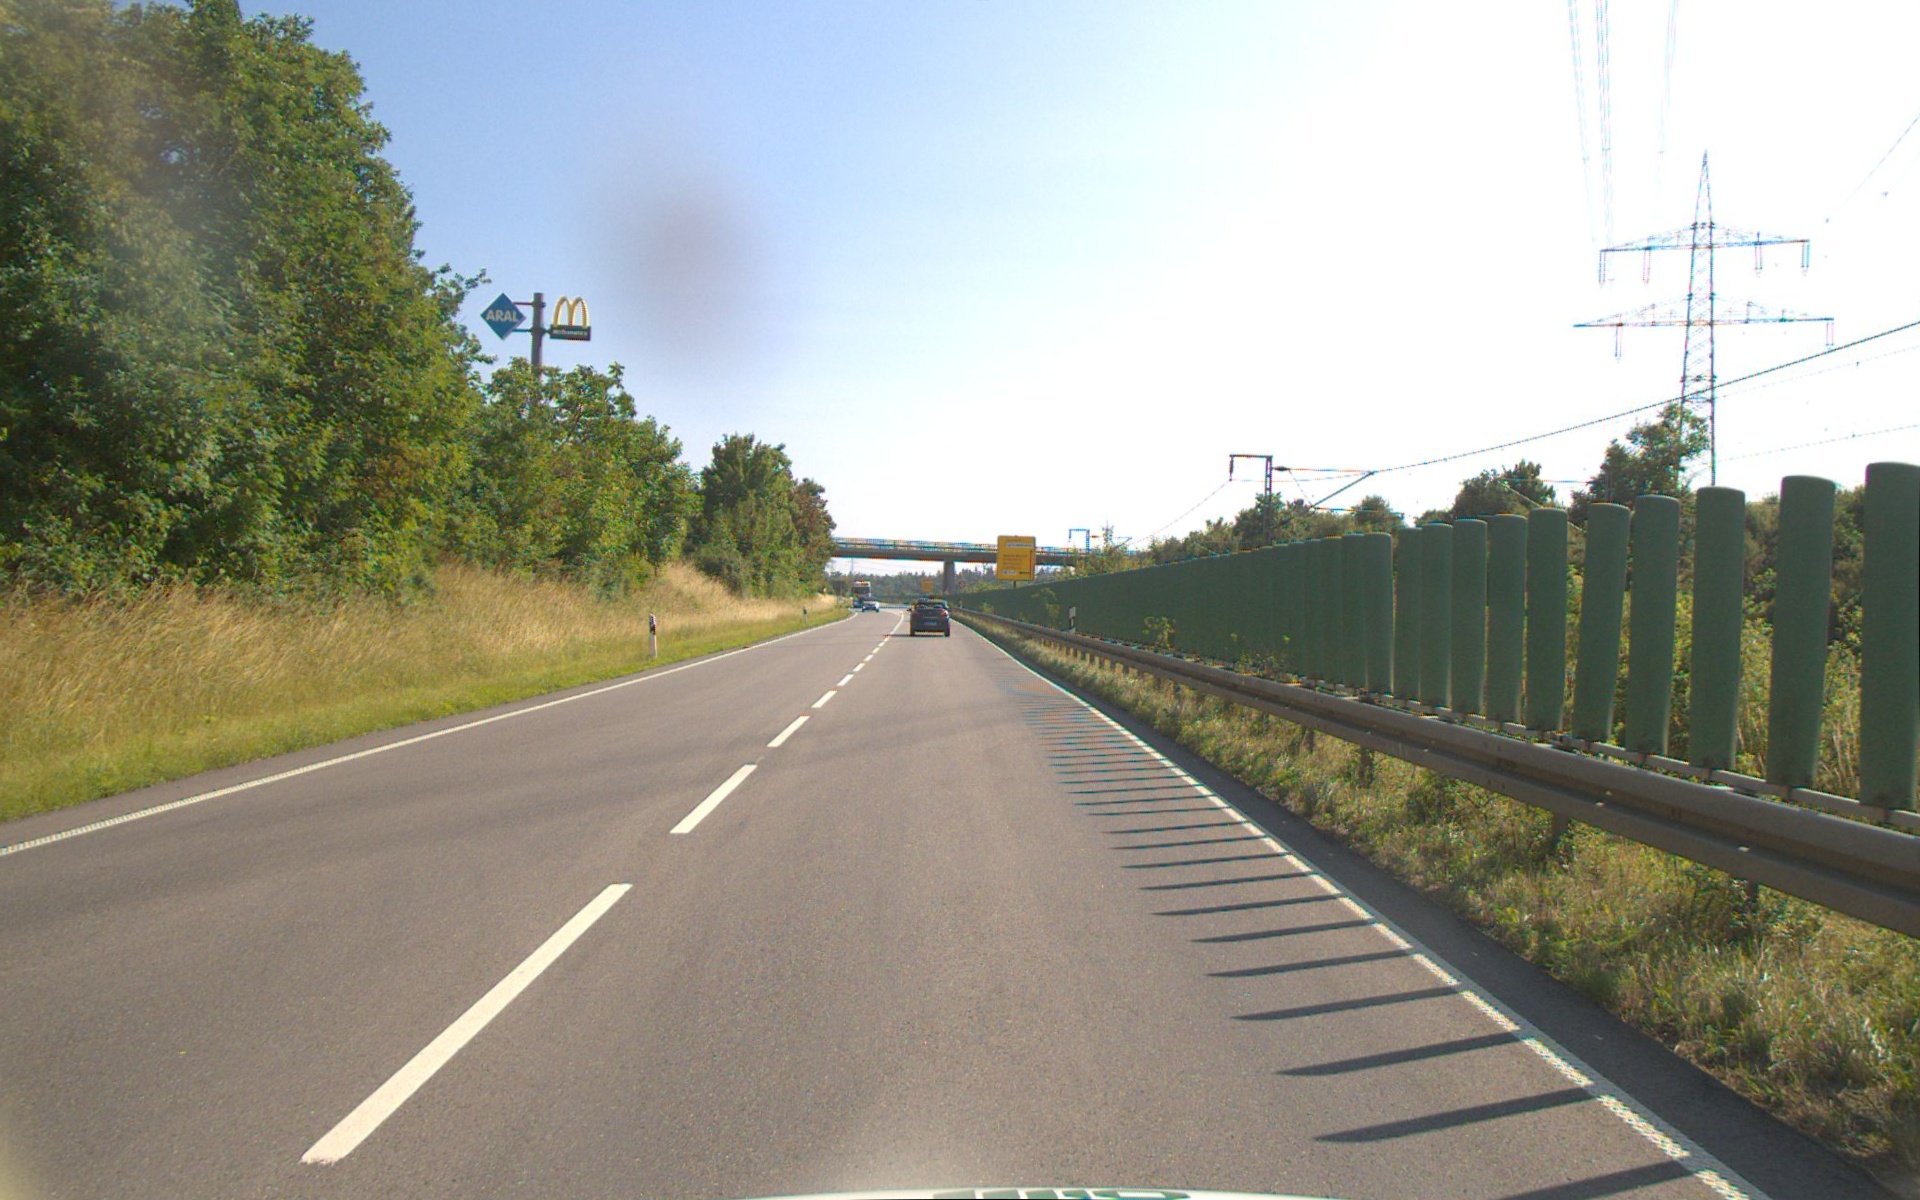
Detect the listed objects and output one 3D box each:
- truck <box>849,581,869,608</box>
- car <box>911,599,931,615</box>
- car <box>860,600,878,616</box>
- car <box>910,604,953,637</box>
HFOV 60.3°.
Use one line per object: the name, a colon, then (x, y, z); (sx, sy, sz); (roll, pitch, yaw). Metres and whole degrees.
truck: (-14.508, -0.785, 238.061); (2.508, 3.753, 10.482); (1, 0, -3)
car: (-3.793, 0.680, 158.941); (1.857, 1.443, 3.998); (1, 0, -3)
car: (-9.341, 0.852, 169.589); (1.760, 1.621, 3.998); (1, 0, -2)
car: (-1.194, 0.807, 67.057); (1.630, 1.283, 3.998); (1, 0, -3)
